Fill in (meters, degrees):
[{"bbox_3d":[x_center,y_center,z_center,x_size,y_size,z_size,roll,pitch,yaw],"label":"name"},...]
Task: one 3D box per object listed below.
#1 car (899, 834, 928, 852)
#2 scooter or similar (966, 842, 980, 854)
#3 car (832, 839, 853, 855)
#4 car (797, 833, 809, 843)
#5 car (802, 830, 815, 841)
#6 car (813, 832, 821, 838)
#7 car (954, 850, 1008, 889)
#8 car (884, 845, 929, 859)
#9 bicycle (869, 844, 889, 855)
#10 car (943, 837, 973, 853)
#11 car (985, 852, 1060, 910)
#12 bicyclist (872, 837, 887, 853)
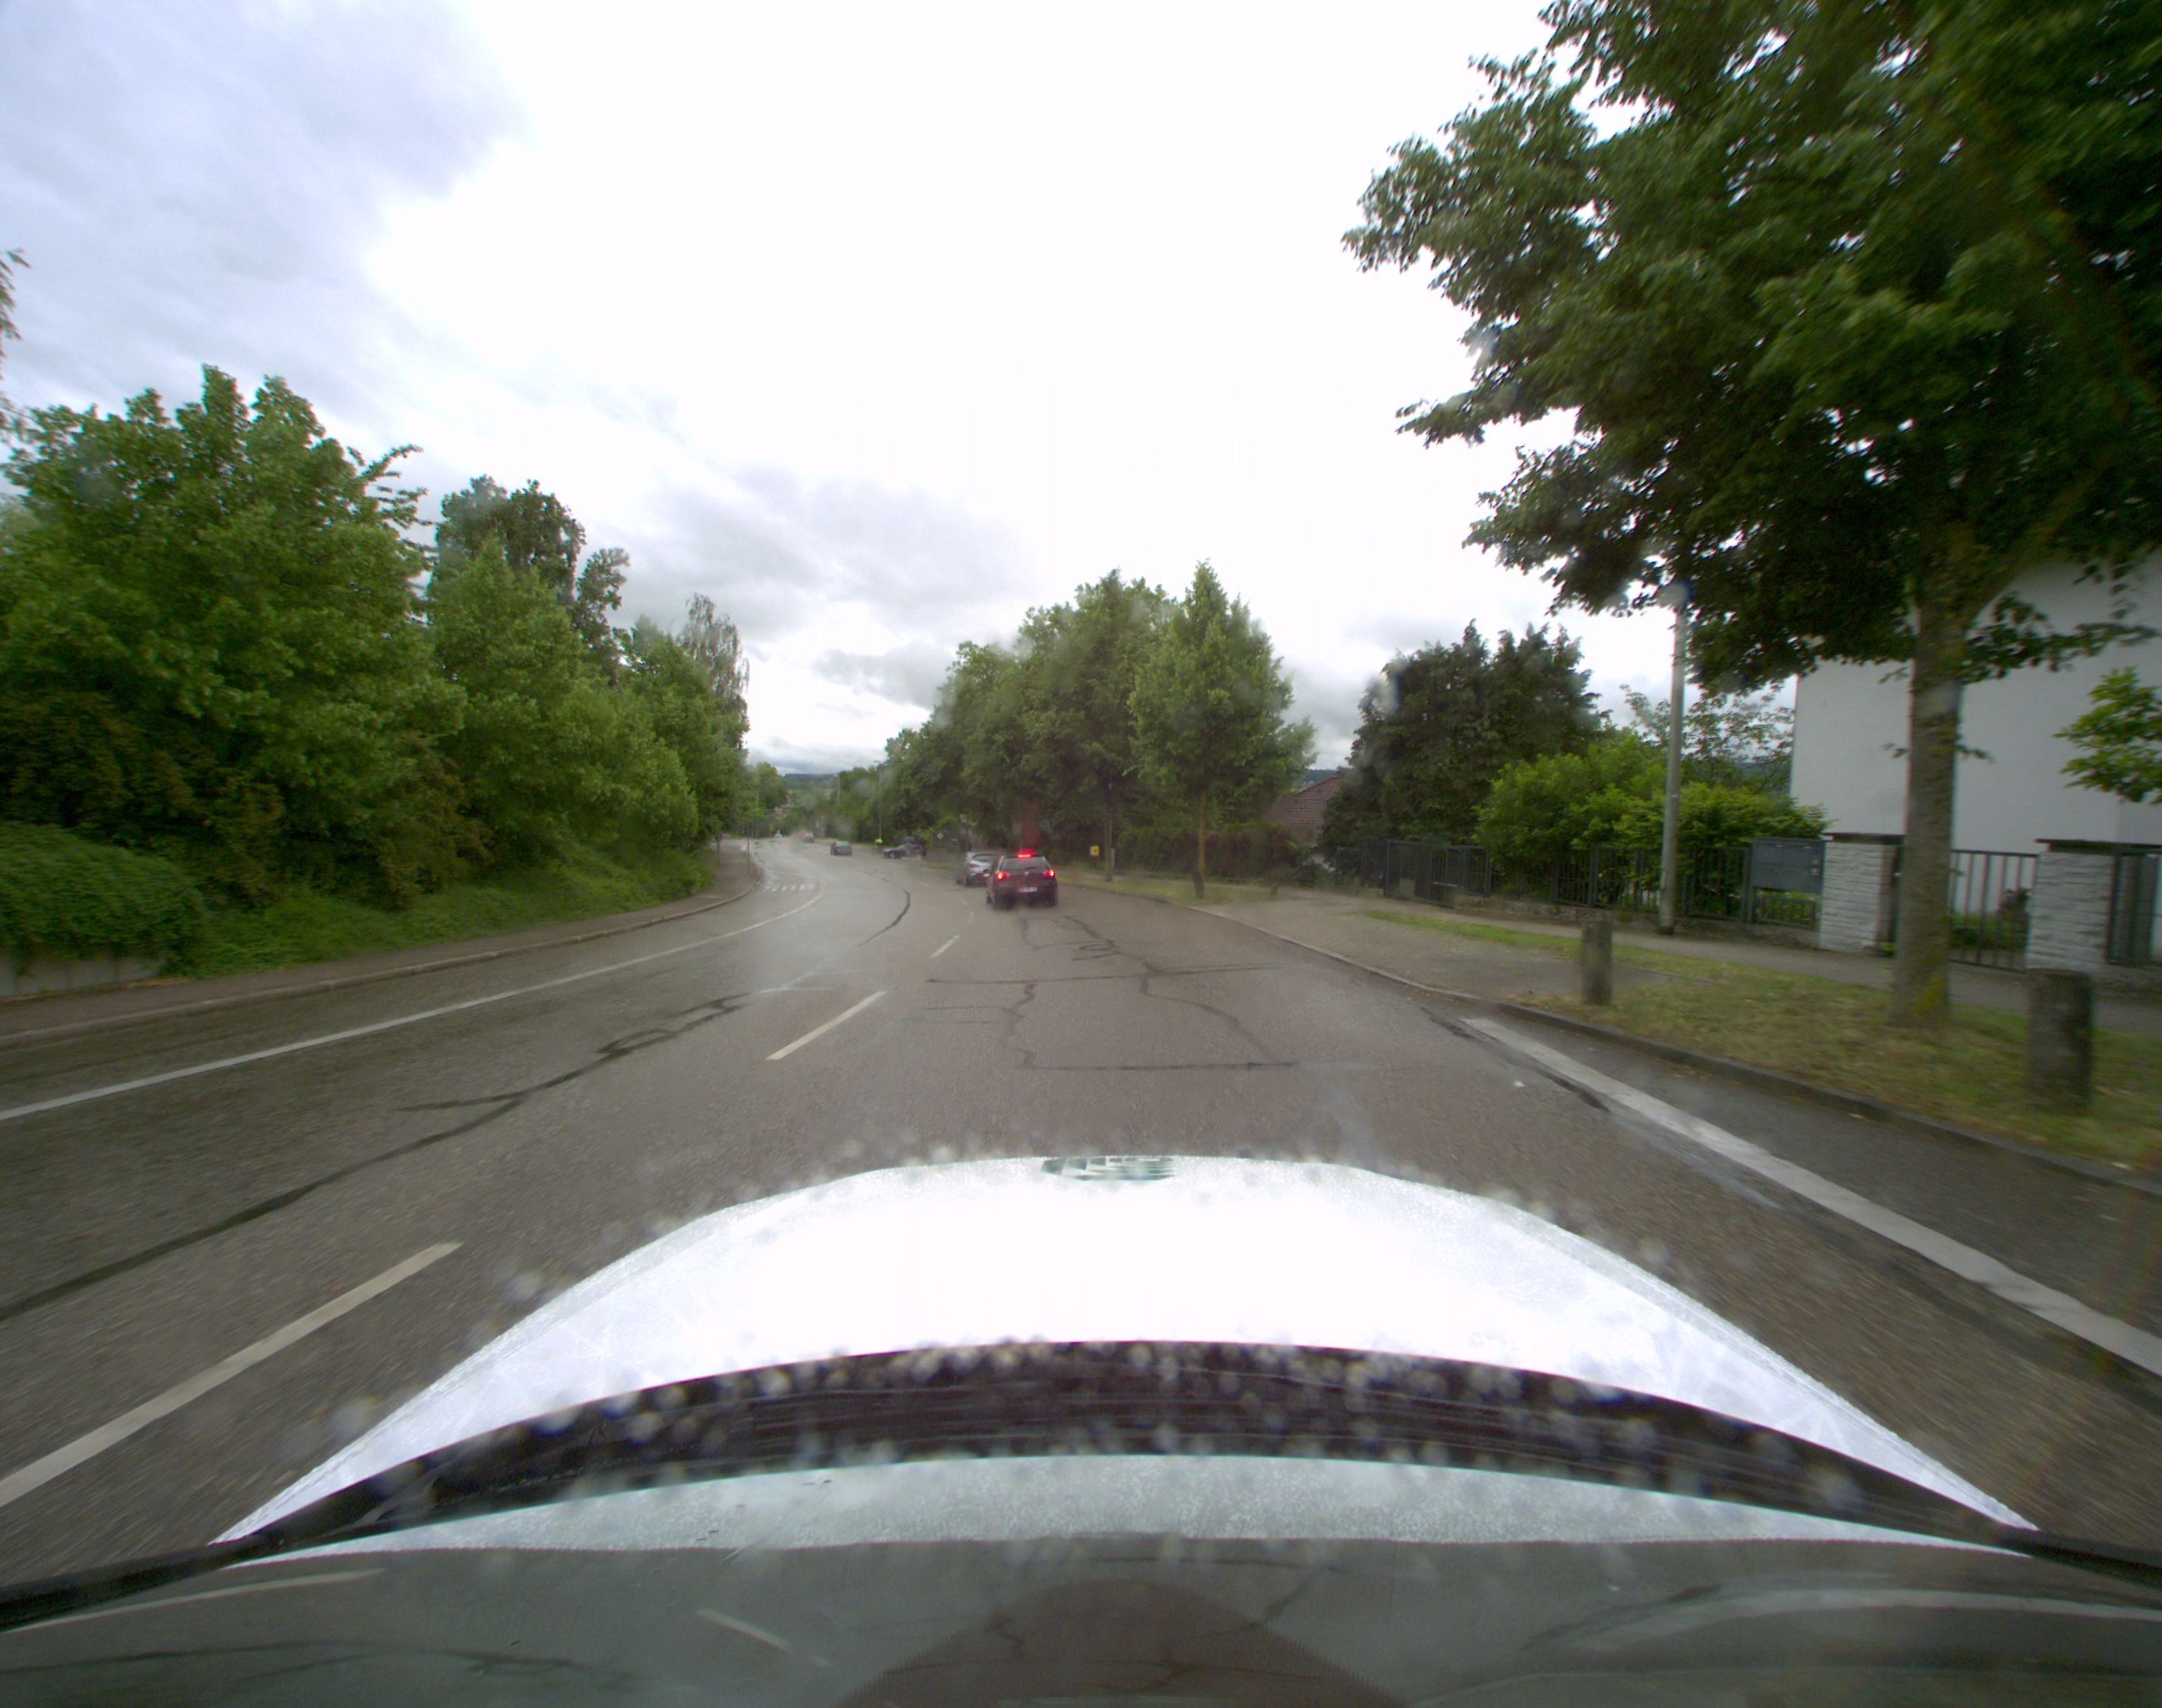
[{"bbox_3d":[-19.186,-1.279,93.709,1.938,1.688,4.912,2,4,5],"label":"car"},{"bbox_3d":[-12.132,-0.636,91.407,1.343,1.285,0.556,-2,2,-29],"label":"scooter or similar"},{"bbox_3d":[-24.639,-0.760,84.046,1.728,1.464,3.972,3,1,-21],"label":"car"},{"bbox_3d":[-46.892,-2.698,137.191,1.728,1.464,3.972,3,1,-21],"label":"car"},{"bbox_3d":[-40.825,-2.760,121.948,1.728,1.464,3.972,3,1,-21],"label":"car"},{"bbox_3d":[-64.031,-4.603,197.182,1.727,1.463,3.975,-2,2,-19],"label":"car"},{"bbox_3d":[-4.377,0.630,35.179,1.757,1.464,3.980,-1,2,-15],"label":"car"},{"bbox_3d":[-17.564,-0.192,81.984,4.142,1.383,1.714,-1,0,-22],"label":"car"},{"bbox_3d":[-21.830,-0.495,88.064,2.012,1.155,0.860,0,1,31],"label":"bicycle"},{"bbox_3d":[-13.961,-1.050,92.958,1.738,1.469,4.585,3,5,14],"label":"car"},{"bbox_3d":[-1.736,0.696,23.073,1.721,1.464,3.986,-1,0,-10],"label":"car"},{"bbox_3d":[-21.788,-0.978,88.026,1.269,1.755,0.860,0,1,31],"label":"bicyclist"}]
